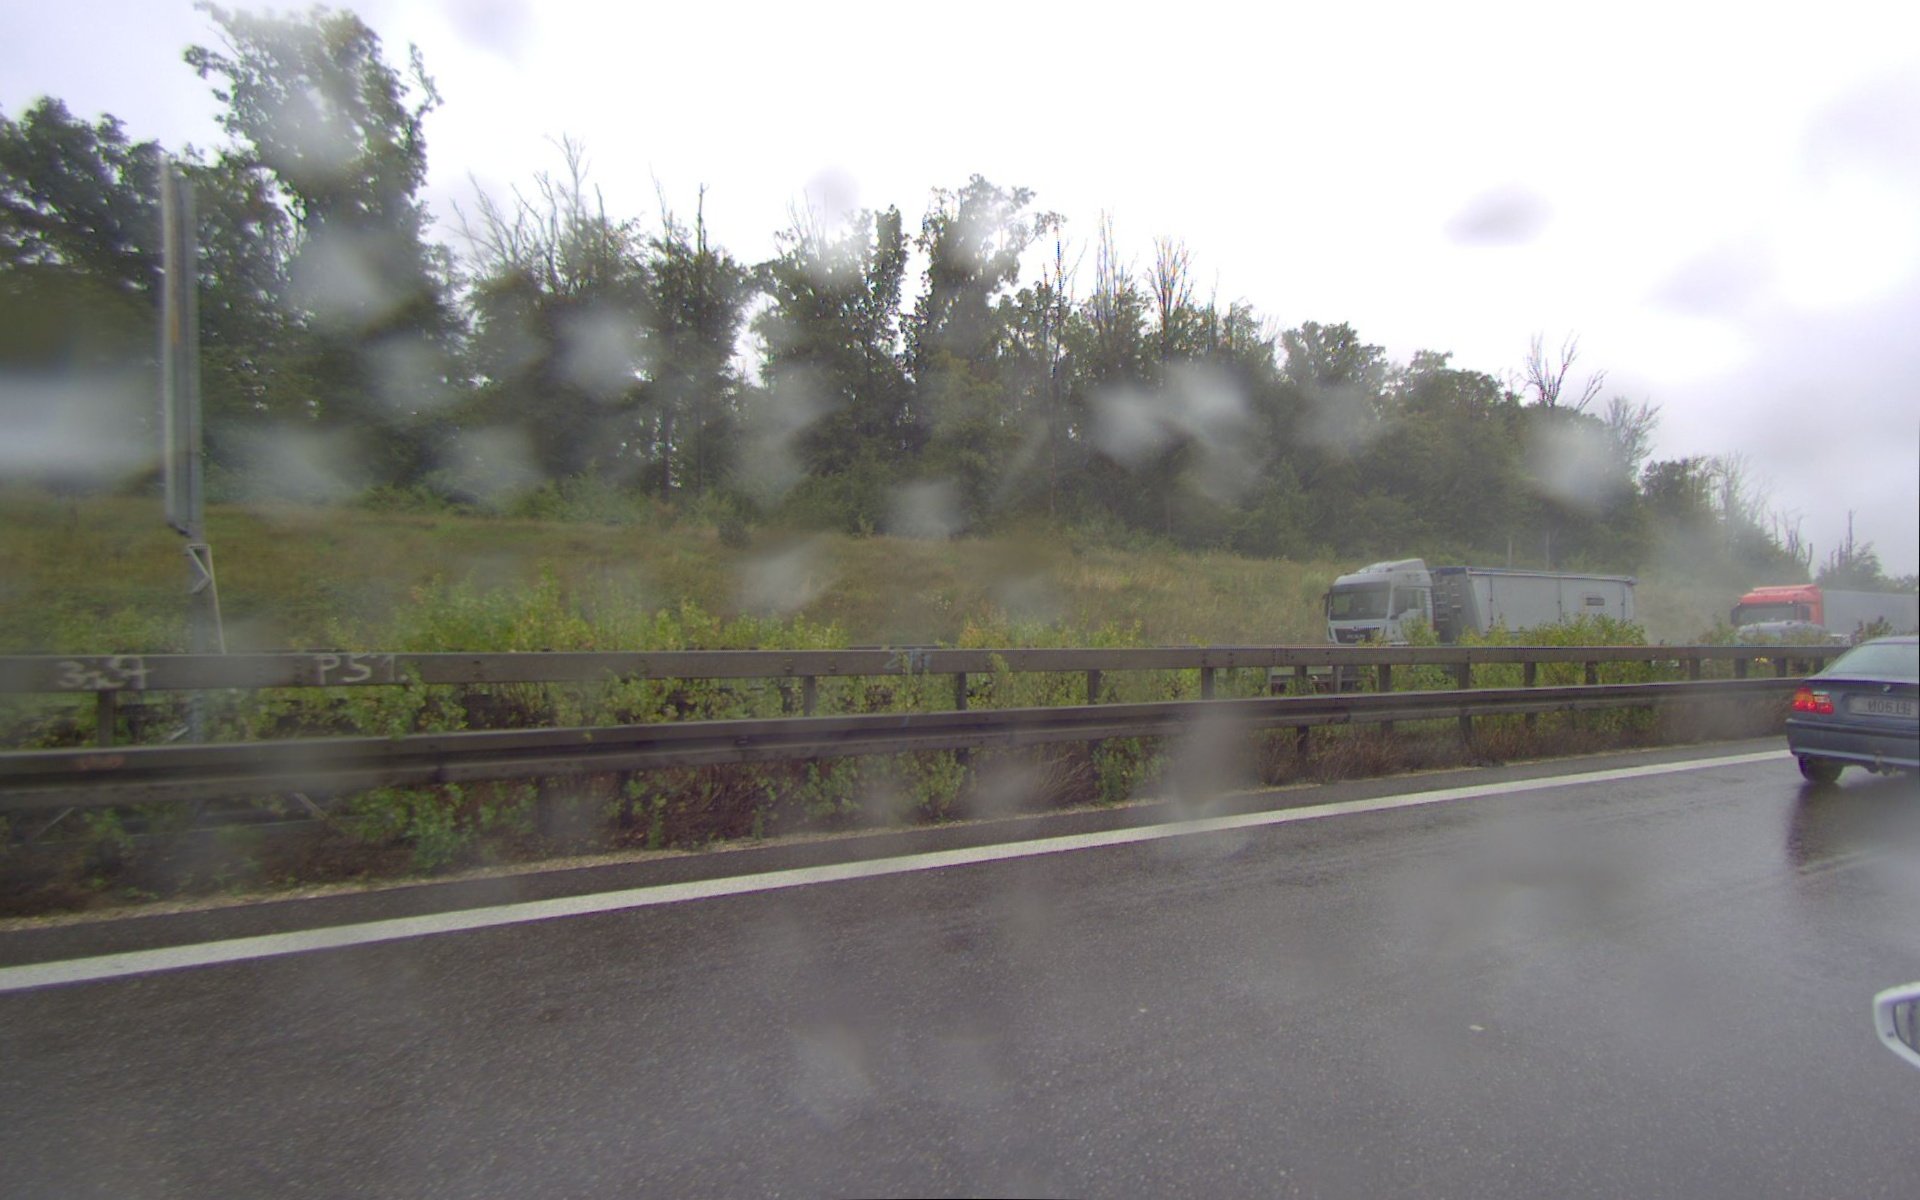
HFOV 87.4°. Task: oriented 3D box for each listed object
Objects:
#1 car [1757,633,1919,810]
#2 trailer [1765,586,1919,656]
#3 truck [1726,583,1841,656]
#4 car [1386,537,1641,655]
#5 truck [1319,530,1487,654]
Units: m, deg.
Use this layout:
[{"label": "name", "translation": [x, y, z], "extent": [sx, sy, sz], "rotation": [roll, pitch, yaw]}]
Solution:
[{"label": "car", "translation": [9.557, 1.053, 9.495], "extent": [4.178, 1.418, 1.710], "rotation": [1, 0, -29]}, {"label": "trailer", "translation": [44.131, 1.072, 49.878], "extent": [10.952, 3.193, 2.673], "rotation": [2, 0, -30]}, {"label": "truck", "translation": [37.963, 0.911, 46.282], "extent": [4.552, 3.193, 2.673], "rotation": [2, 0, -31]}, {"label": "car", "translation": [19.551, -0.020, 35.098], "extent": [10.847, 3.659, 2.672], "rotation": [2, 0, -31]}, {"label": "truck", "translation": [14.016, -0.192, 31.772], "extent": [4.552, 3.659, 2.673], "rotation": [2, 0, -31]}]
